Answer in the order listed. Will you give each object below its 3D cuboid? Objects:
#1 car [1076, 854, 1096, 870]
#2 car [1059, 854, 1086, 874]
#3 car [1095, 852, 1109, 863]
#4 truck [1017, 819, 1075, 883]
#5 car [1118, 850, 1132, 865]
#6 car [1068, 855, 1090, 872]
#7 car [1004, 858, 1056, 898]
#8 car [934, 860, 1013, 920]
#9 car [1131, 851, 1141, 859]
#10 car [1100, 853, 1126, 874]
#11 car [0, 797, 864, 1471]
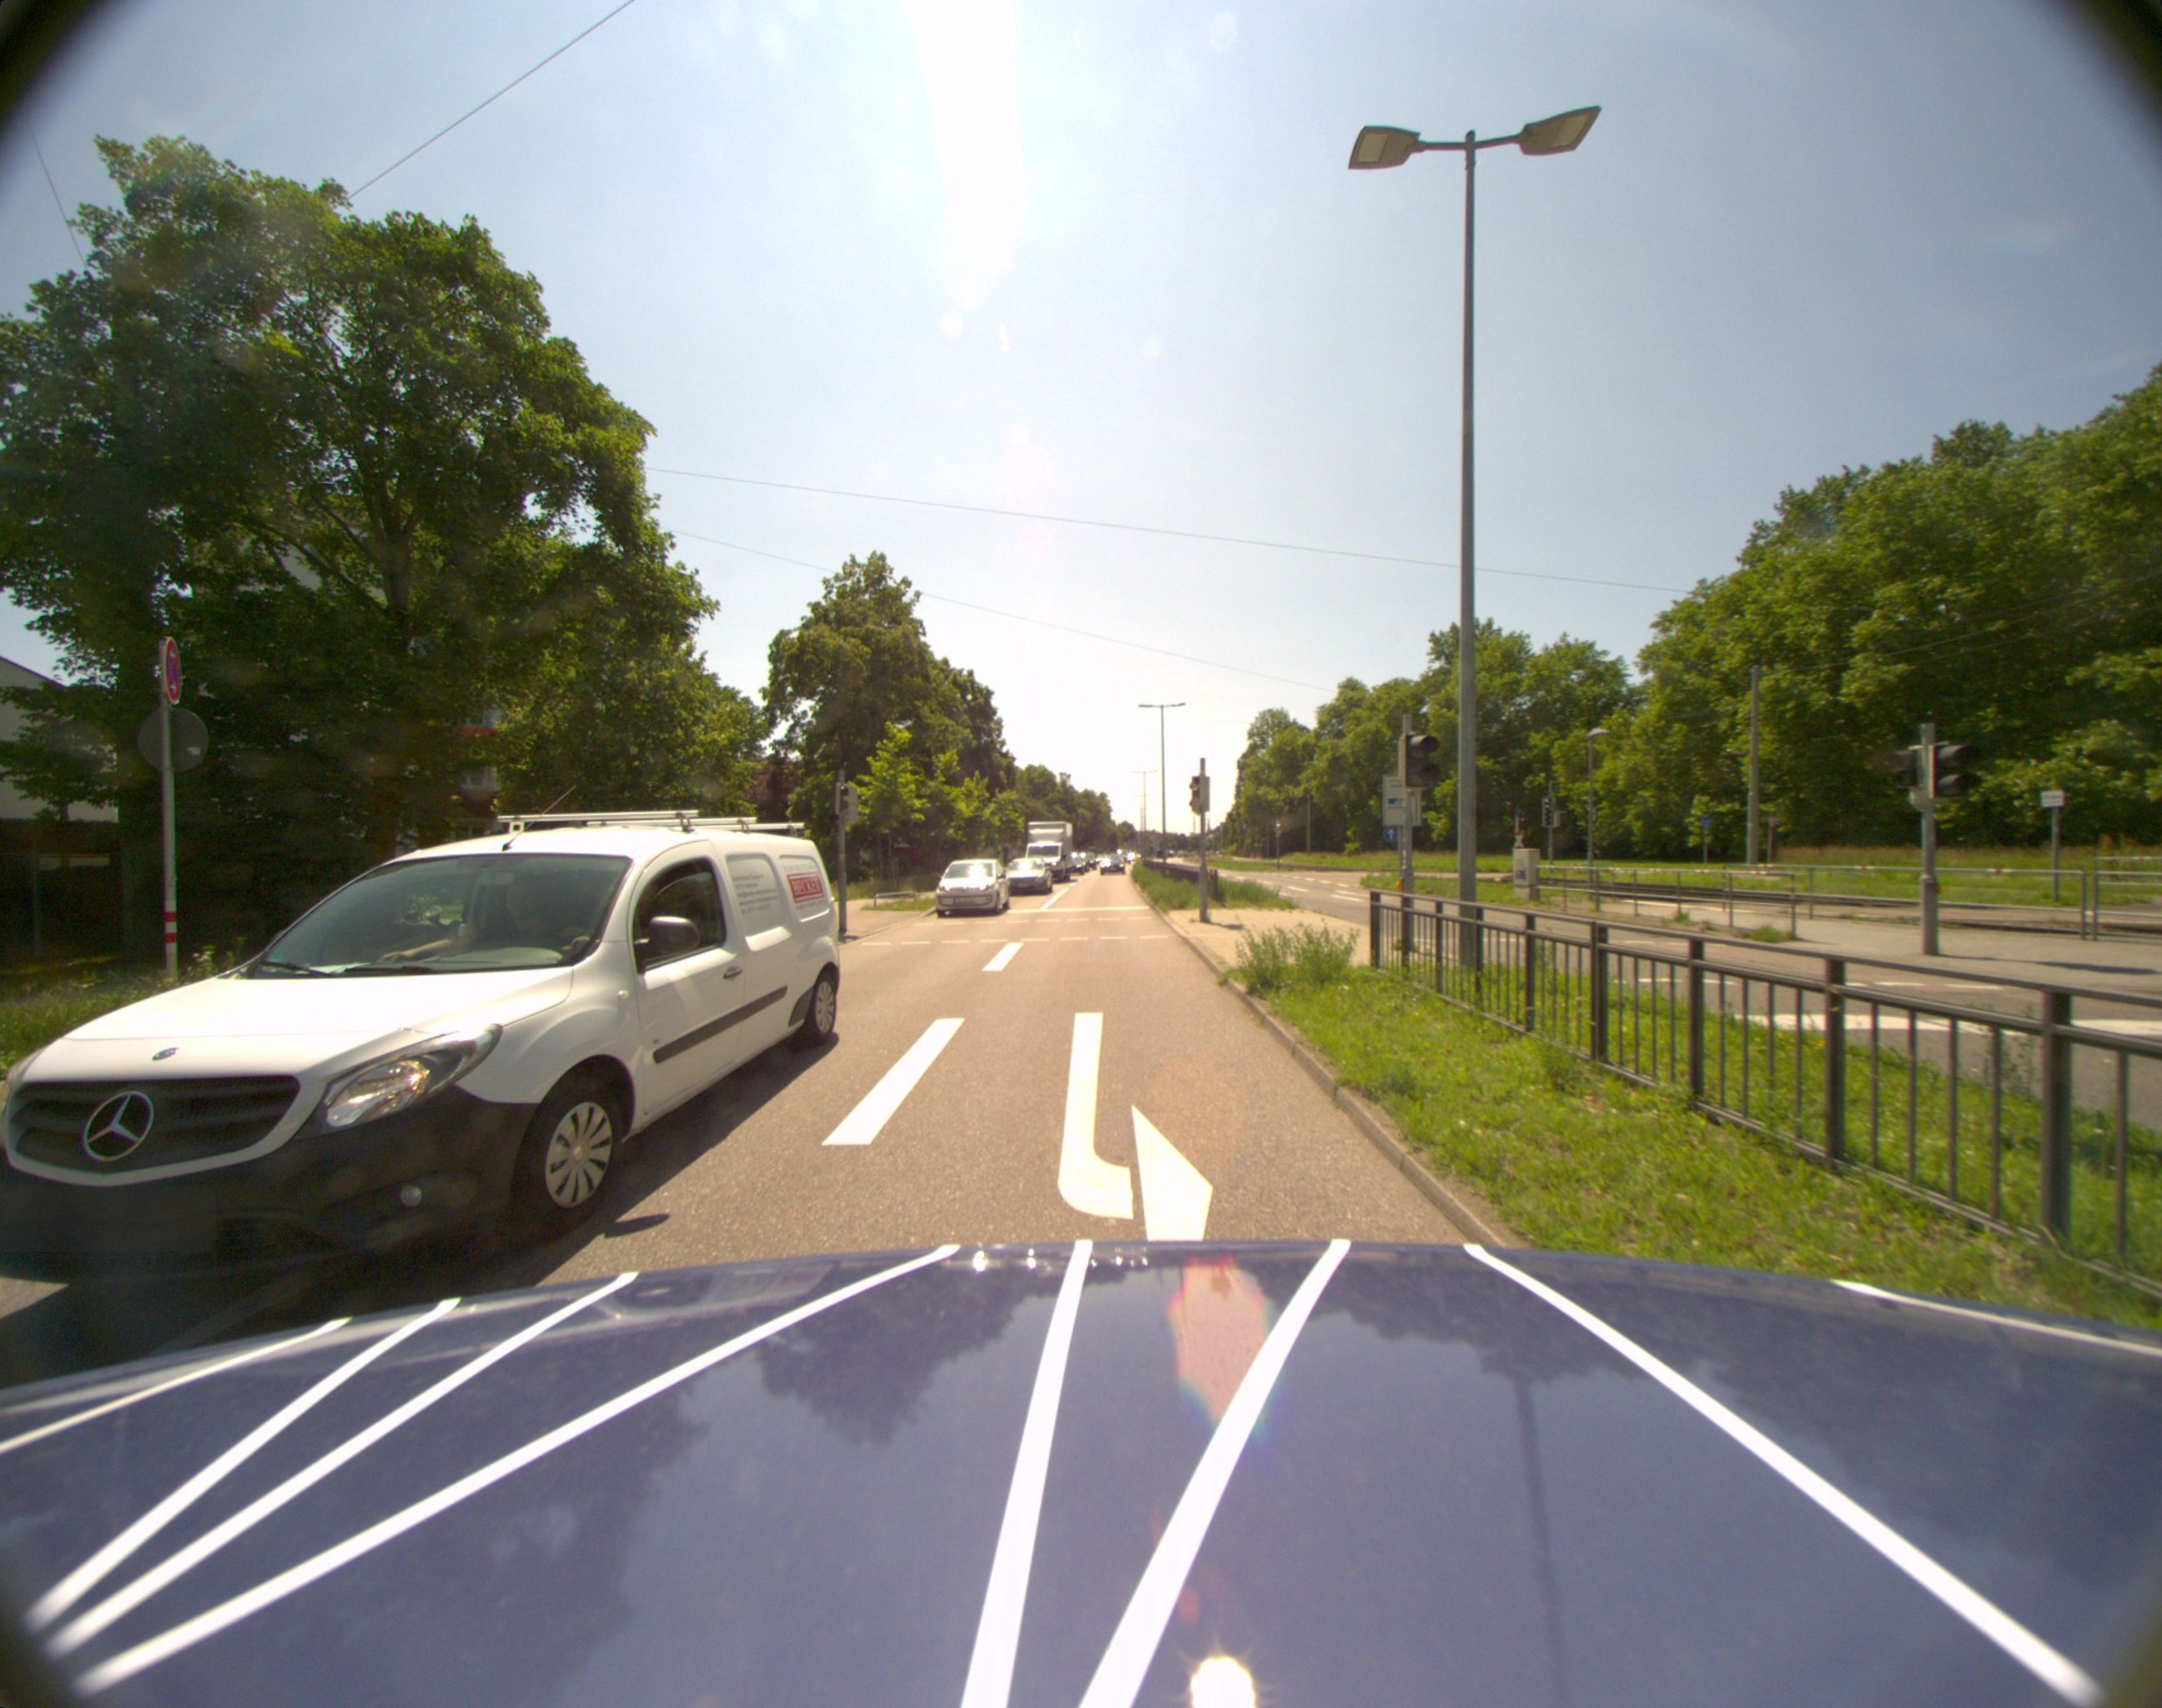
[{"bbox_3d":[0.472,0.718,72.529,1.746,1.382,3.887,-1,1,2],"label":"car"},{"bbox_3d":[-0.592,0.688,56.235,1.746,1.382,3.887,-1,1,2],"label":"car"},{"bbox_3d":[2.946,0.475,107.007,1.745,1.382,3.888,-1,1,5],"label":"car"},{"bbox_3d":[-1.831,-0.181,42.481,2.489,3.277,6.605,-1,0,3],"label":"truck"},{"bbox_3d":[5.944,0.440,102.334,1.746,1.840,3.887,-1,1,2],"label":"car"},{"bbox_3d":[-0.113,0.787,64.711,1.618,1.373,4.115,-2,0,3],"label":"car"},{"bbox_3d":[-1.983,0.915,30.640,1.618,1.373,4.115,-2,0,3],"label":"car"},{"bbox_3d":[-2.898,0.939,21.141,1.626,1.433,3.498,-2,0,1],"label":"car"},{"bbox_3d":[10.426,0.153,143.803,1.745,1.382,3.889,-1,1,7],"label":"car"},{"bbox_3d":[2.285,0.685,54.617,1.746,1.382,3.887,-1,1,2],"label":"car"},{"bbox_3d":[-2.999,0.786,4.645,1.809,1.845,5.082,-2,0,0],"label":"car"}]
